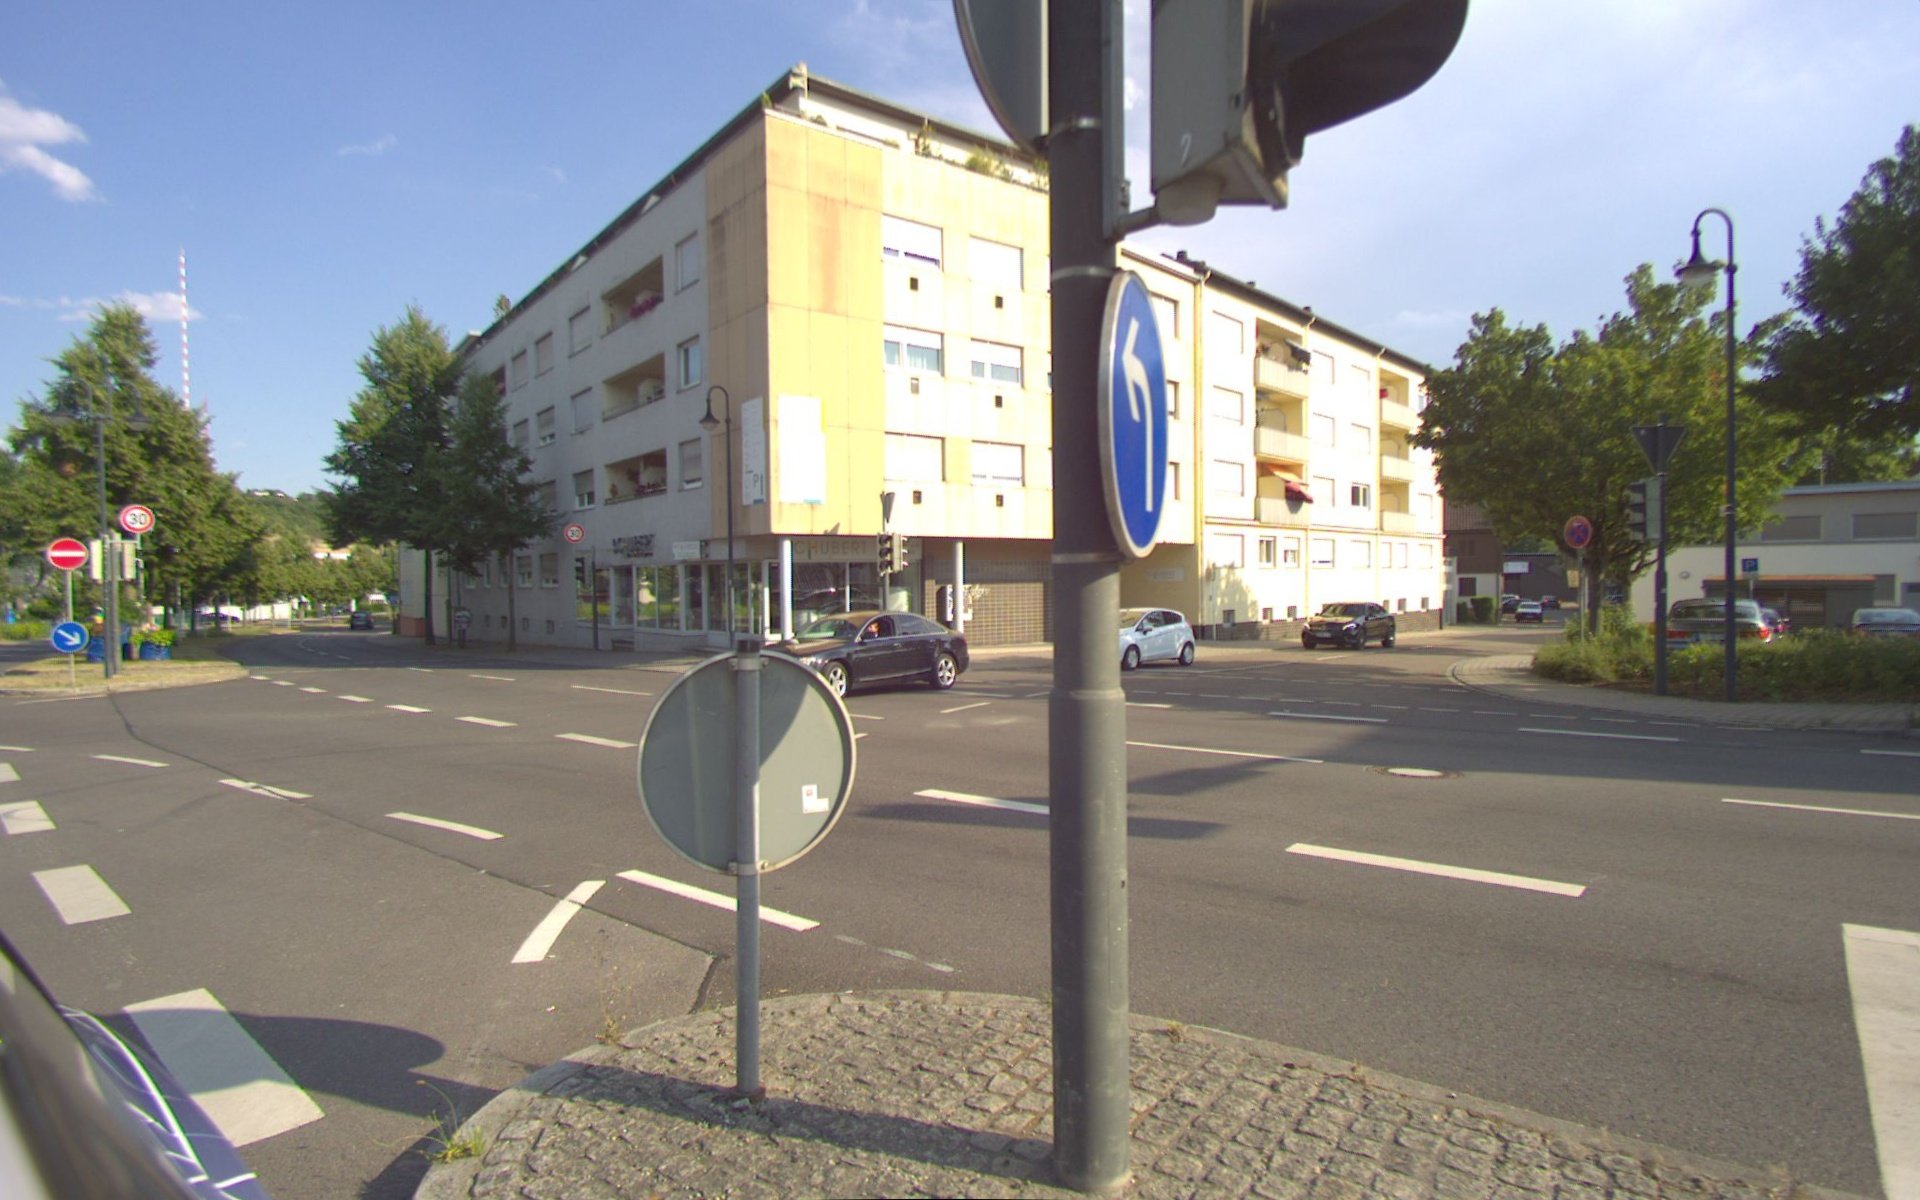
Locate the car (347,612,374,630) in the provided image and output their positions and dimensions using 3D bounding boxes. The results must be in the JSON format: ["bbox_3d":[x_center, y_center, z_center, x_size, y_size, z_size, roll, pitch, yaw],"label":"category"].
[{"bbox_3d":[-58.806,2.047,99.325,1.826,1.750,4.938,0,-1,-25],"label":"car"}]

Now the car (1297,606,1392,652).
[{"bbox_3d":[12.797,0.927,33.566,1.748,1.447,3.541,-1,-1,43],"label":"car"}]

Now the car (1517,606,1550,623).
[{"bbox_3d":[43.710,1.075,77.098,1.746,1.269,3.546,-1,-1,38],"label":"car"}]

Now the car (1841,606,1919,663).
[{"bbox_3d":[24.723,0.877,26.717,1.744,1.410,3.615,-1,-1,34],"label":"car"}]

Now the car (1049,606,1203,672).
[{"bbox_3d":[4.053,0.886,24.363,1.868,1.447,3.770,-1,-1,44],"label":"car"}]

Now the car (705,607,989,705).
[{"bbox_3d":[-1.800,0.865,17.461,1.917,1.447,4.805,-1,-1,43],"label":"car"}]
